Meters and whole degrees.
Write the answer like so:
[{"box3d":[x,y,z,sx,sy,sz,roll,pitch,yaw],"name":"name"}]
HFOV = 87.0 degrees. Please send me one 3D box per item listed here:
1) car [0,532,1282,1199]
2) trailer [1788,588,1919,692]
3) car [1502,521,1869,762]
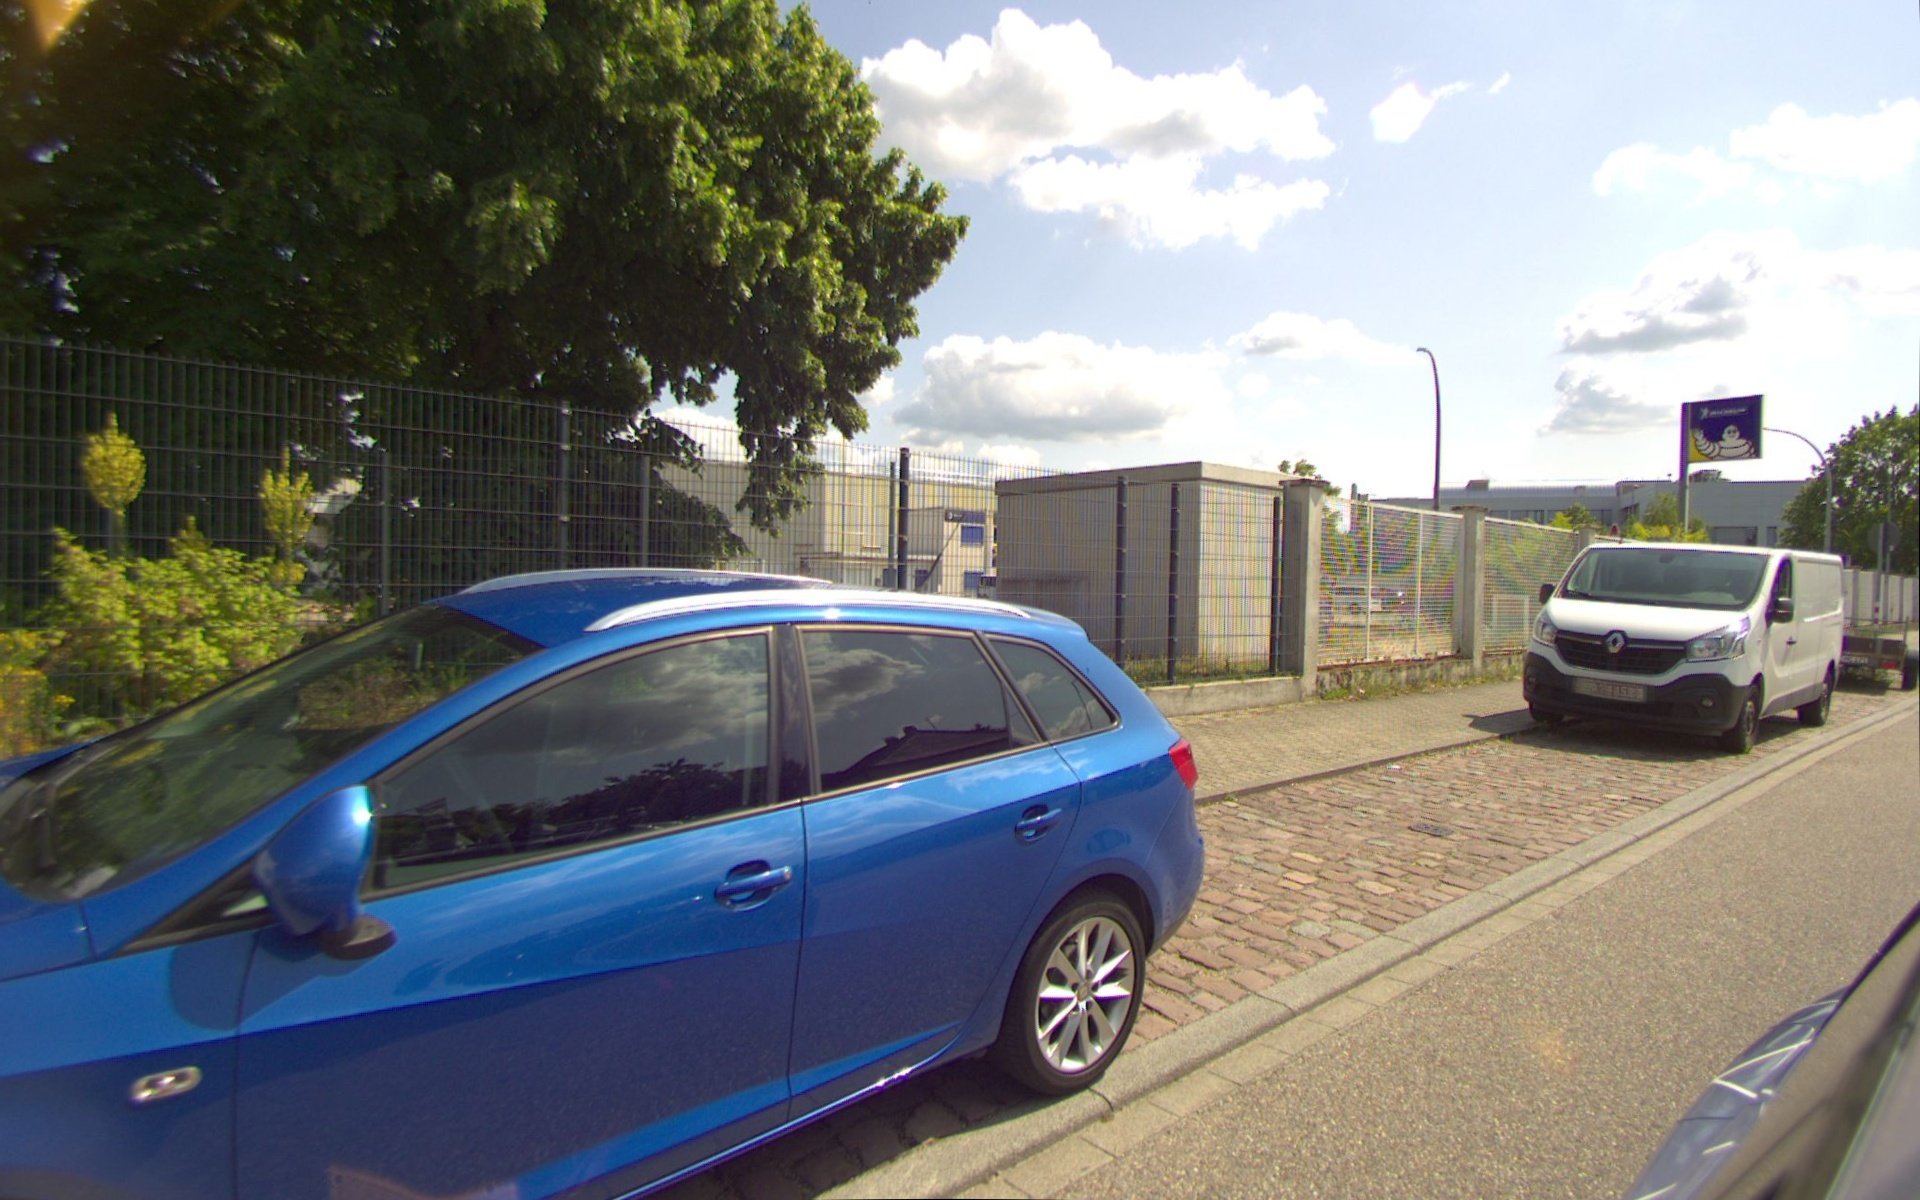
[{"box3d":[-0.995,0.613,2.716,4.000,1.478,1.694,-1,4,-42],"name":"car"},{"box3d":[15.733,0.590,17.502,1.750,1.434,4.477,6,5,44],"name":"trailer"},{"box3d":[8.160,0.302,11.118,5.550,2.038,1.998,0,2,-41],"name":"car"}]
